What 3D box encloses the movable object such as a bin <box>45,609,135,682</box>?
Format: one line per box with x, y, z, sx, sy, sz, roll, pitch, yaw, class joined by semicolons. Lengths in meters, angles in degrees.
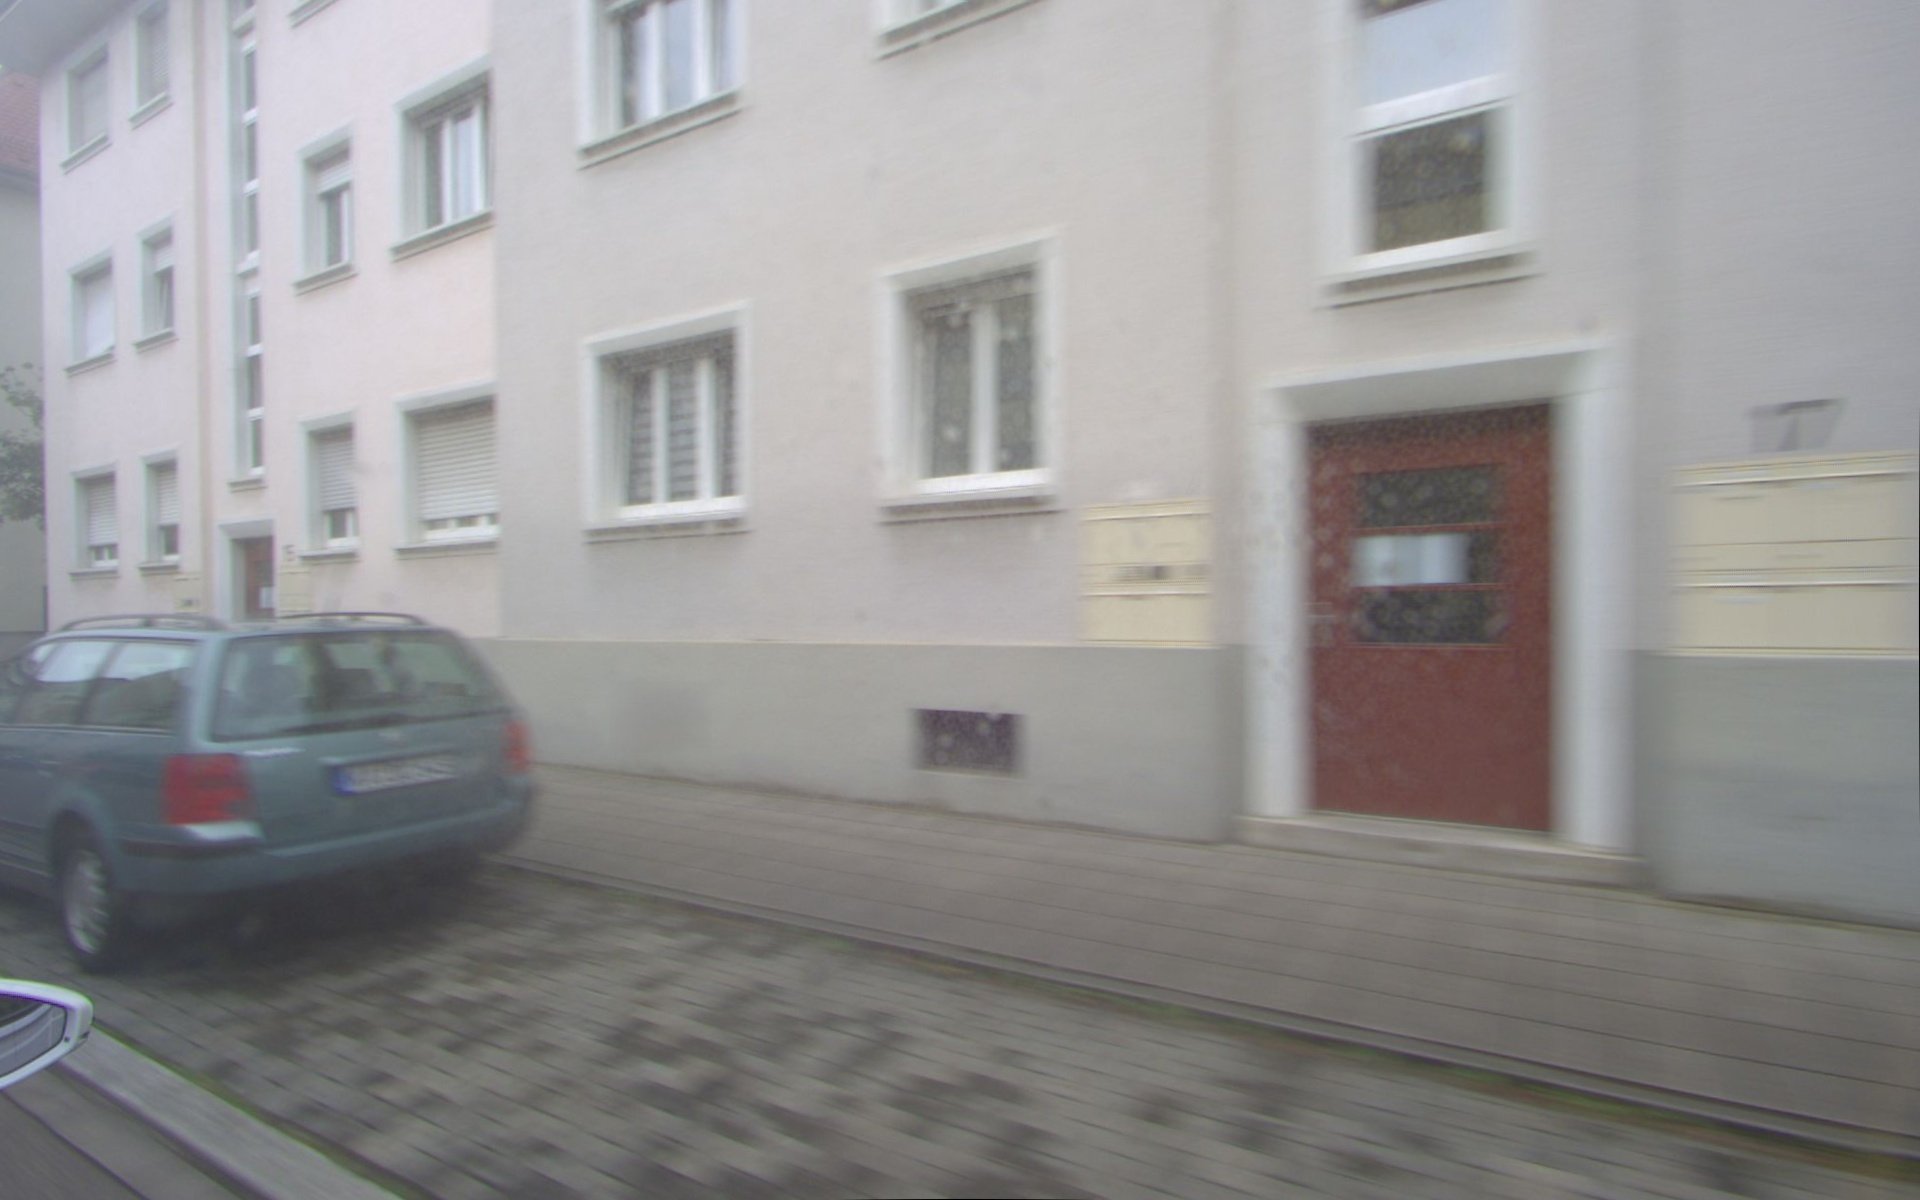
-18.222;0.936;20.986;1.133;1.462;1.159;0;-1;32;movable object such as a bin

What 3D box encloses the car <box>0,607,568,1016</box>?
-4.228;0.795;5.489;4.203;1.488;1.722;0;0;32;car
